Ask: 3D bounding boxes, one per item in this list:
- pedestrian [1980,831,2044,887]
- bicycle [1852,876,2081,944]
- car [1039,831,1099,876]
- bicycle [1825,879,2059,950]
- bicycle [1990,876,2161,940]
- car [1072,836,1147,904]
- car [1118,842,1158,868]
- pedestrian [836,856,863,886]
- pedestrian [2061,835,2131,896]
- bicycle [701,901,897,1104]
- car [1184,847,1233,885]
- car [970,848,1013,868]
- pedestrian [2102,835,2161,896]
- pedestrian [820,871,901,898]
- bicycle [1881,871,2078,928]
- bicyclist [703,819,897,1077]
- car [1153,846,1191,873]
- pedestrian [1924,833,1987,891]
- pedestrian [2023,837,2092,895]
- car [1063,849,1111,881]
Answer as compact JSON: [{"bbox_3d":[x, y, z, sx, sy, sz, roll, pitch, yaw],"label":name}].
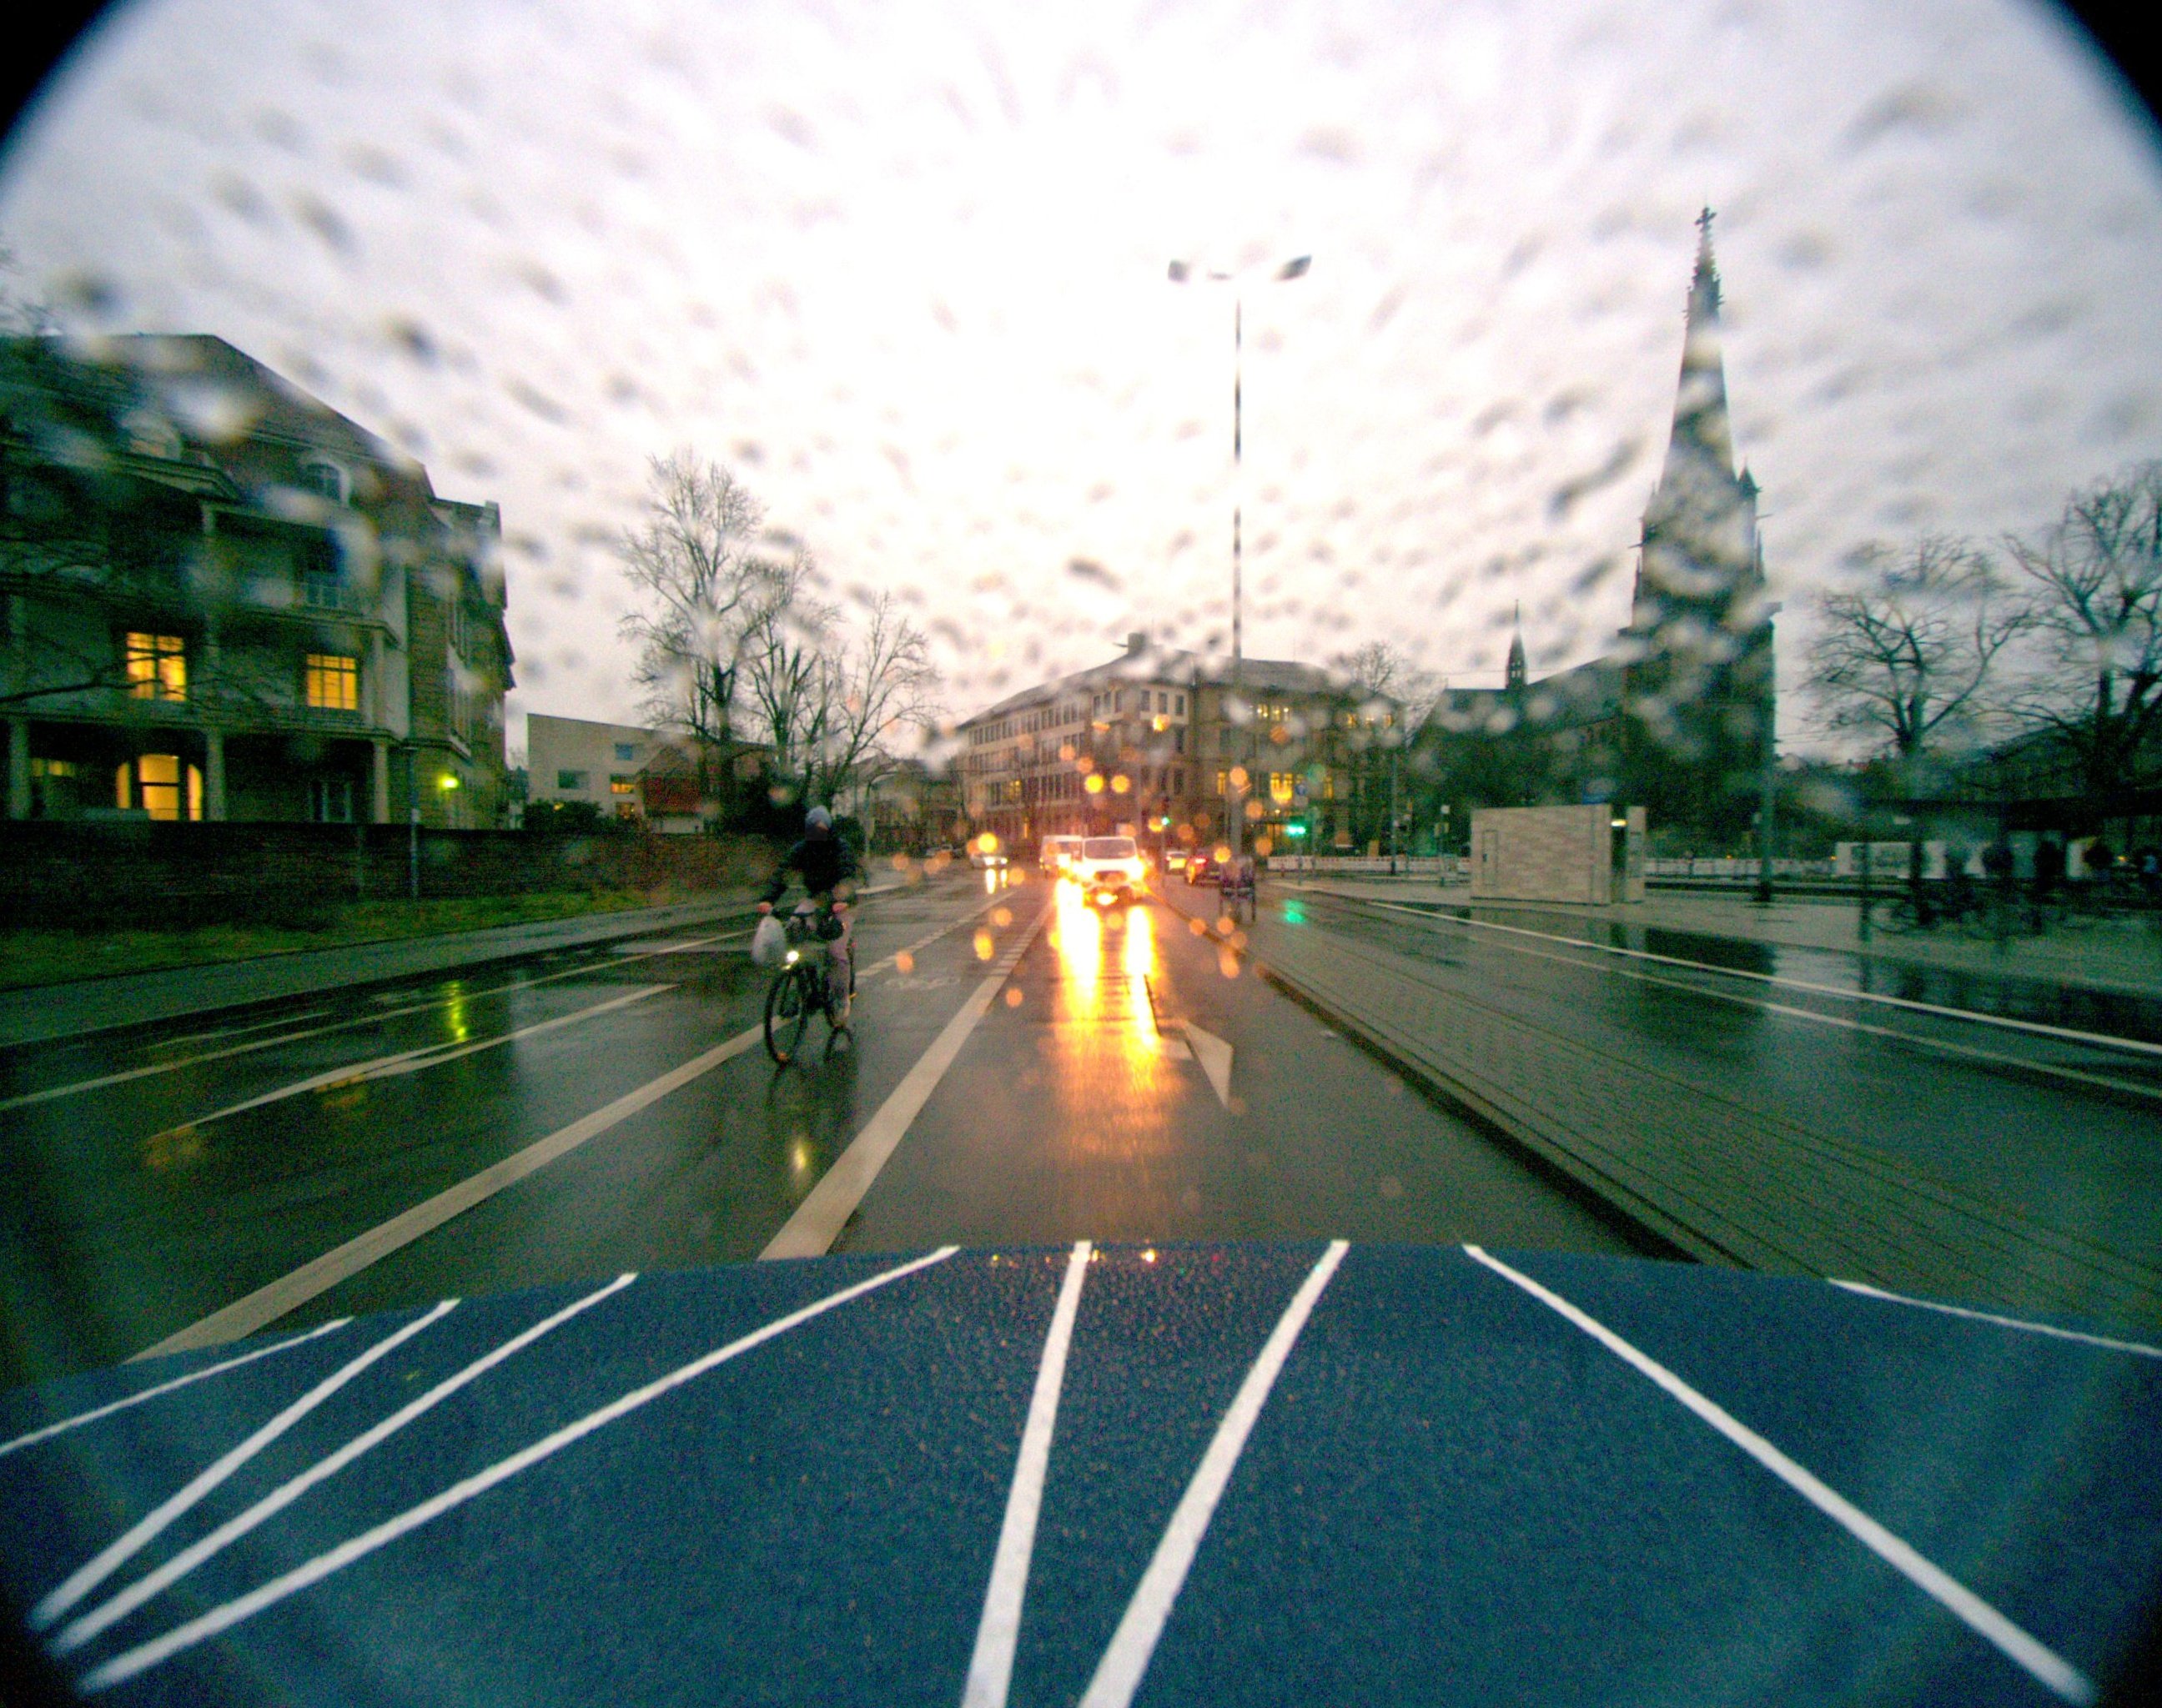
[{"bbox_3d":[30.943,0.166,25.266,1.034,1.839,0.848,1,1,1],"label":"pedestrian"},{"bbox_3d":[16.636,0.995,14.405,0.648,1.098,2.744,-3,1,-31],"label":"bicycle"},{"bbox_3d":[-0.845,-0.039,46.423,2.349,2.503,5.860,-2,1,-14],"label":"car"},{"bbox_3d":[15.568,1.042,13.871,0.648,1.098,2.744,-3,1,-31],"label":"bicycle"},{"bbox_3d":[19.619,1.008,14.562,0.648,1.098,2.744,-3,1,-31],"label":"bicycle"},{"bbox_3d":[0.865,0.450,24.829,2.137,1.910,5.016,-2,1,1],"label":"car"},{"bbox_3d":[4.435,0.064,60.035,2.141,1.999,4.567,1,1,-8],"label":"car"},{"bbox_3d":[-10.177,0.734,33.398,0.984,1.309,0.813,0,1,-29],"label":"pedestrian"},{"bbox_3d":[31.363,0.352,23.489,1.034,1.839,0.802,1,1,1],"label":"pedestrian"},{"bbox_3d":[-2.187,1.092,6.229,0.794,1.216,1.903,0,3,3],"label":"bicycle"},{"bbox_3d":[5.650,0.488,34.032,1.677,1.586,4.000,-1,1,3],"label":"car"},{"bbox_3d":[-7.457,0.337,62.892,1.792,1.536,4.108,-2,0,-34],"label":"car"},{"bbox_3d":[32.555,0.341,23.411,1.034,1.839,0.848,-2,1,1],"label":"pedestrian"},{"bbox_3d":[-9.262,1.273,31.925,3.104,0.925,0.946,-3,1,-29],"label":"pedestrian"},{"bbox_3d":[19.668,0.953,16.738,0.648,1.098,2.744,-3,1,-34],"label":"bicycle"},{"bbox_3d":[-2.179,0.663,6.116,1.026,1.873,1.235,0,3,2],"label":"bicyclist"},{"bbox_3d":[5.726,0.323,48.088,1.678,1.586,3.998,-1,1,-4],"label":"car"},{"bbox_3d":[29.504,0.267,25.638,1.049,1.839,0.848,-4,1,1],"label":"pedestrian"},{"bbox_3d":[31.289,0.371,24.364,1.034,1.839,0.848,1,1,1],"label":"pedestrian"},{"bbox_3d":[0.250,0.507,38.927,1.755,1.495,4.313,-2,1,-8],"label":"car"}]
